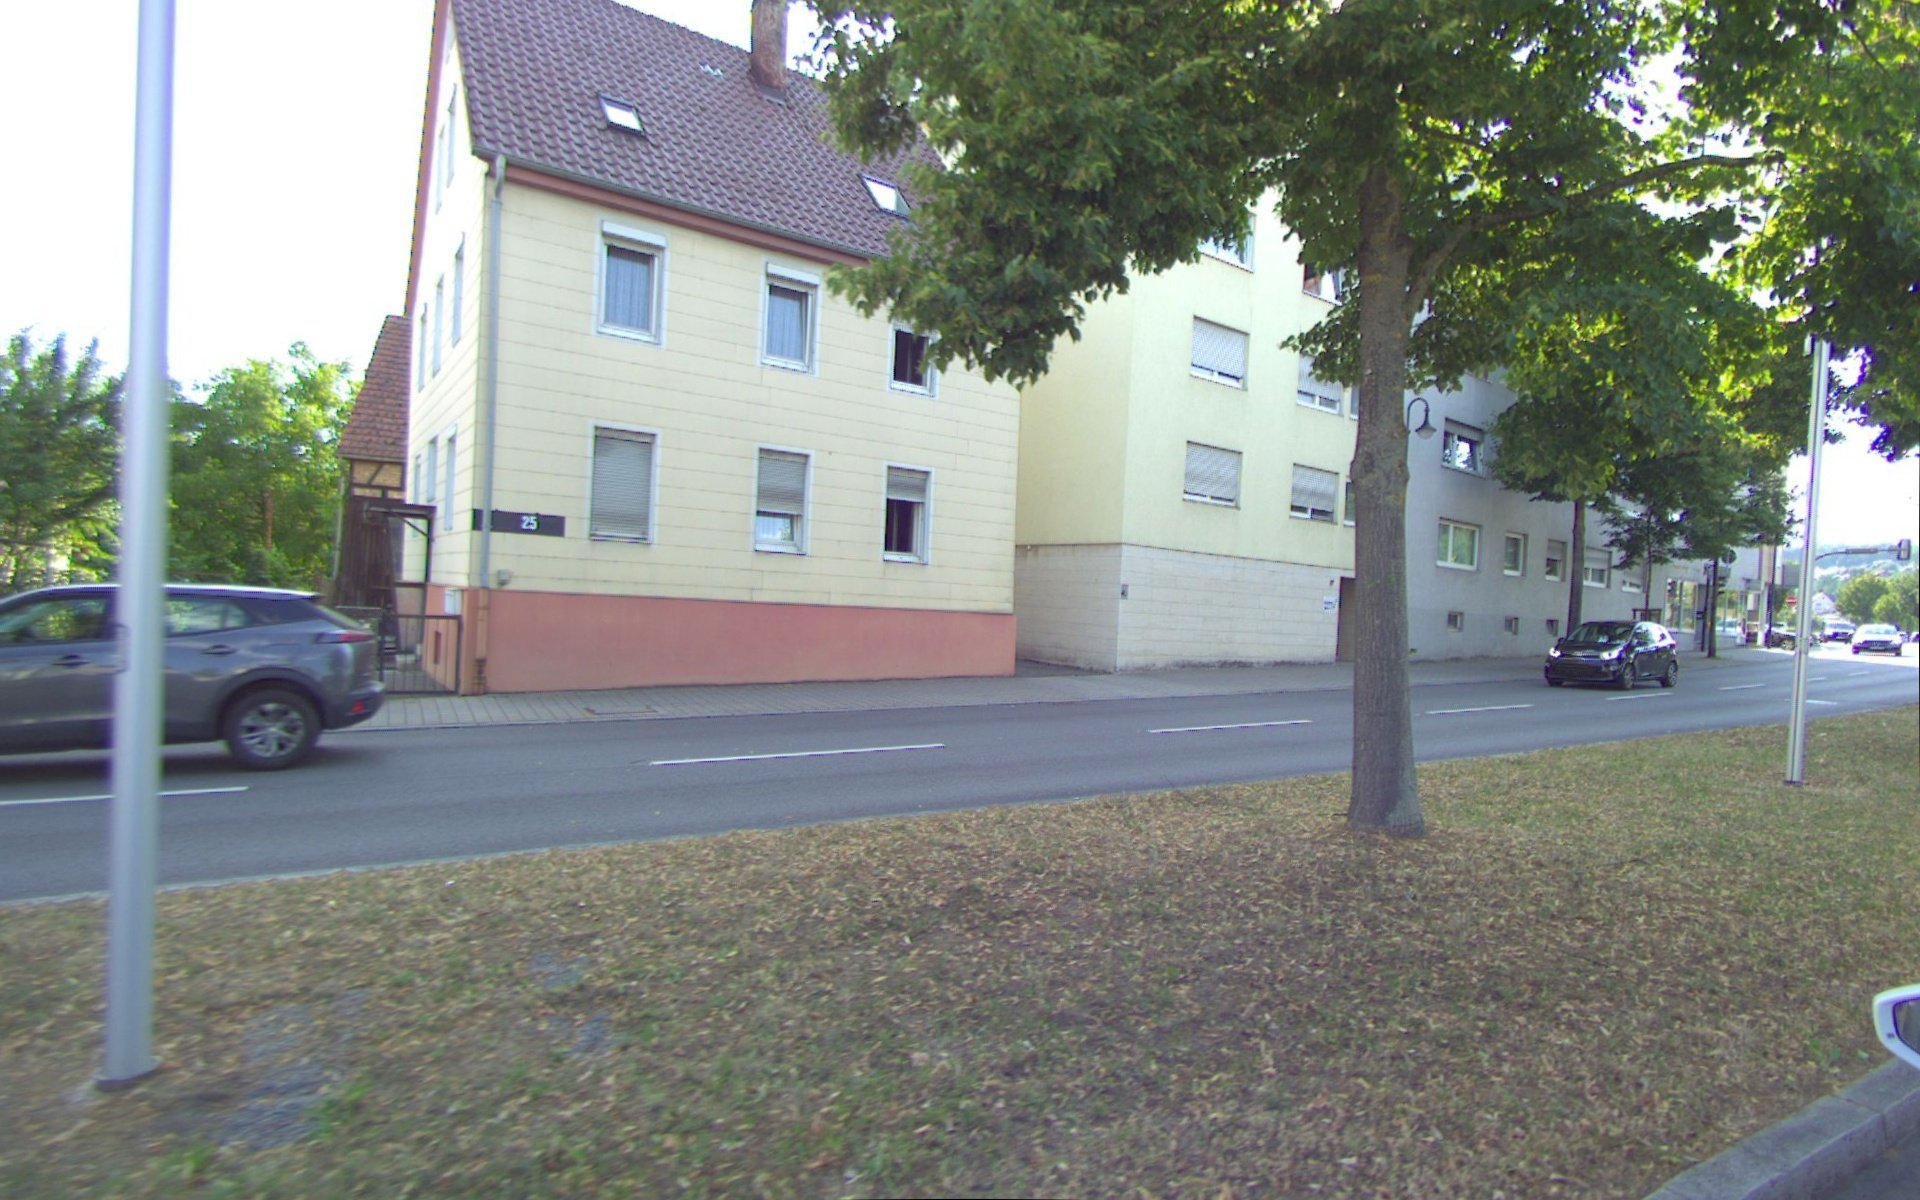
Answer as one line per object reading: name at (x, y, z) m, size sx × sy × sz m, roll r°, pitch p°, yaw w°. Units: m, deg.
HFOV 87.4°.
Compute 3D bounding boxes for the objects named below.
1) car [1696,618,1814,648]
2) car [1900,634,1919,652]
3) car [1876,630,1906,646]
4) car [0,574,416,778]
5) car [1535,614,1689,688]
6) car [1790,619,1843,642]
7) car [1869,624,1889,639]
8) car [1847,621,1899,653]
car at (43.128, 1.774, 54.553) m, size 1.904 × 1.456 × 4.812 m, roll 2°, pitch -1°, yaw -43°
car at (105.507, 4.757, 110.684) m, size 2.187 × 1.883 × 4.439 m, roll 1°, pitch 0°, yaw 35°
car at (116.579, 4.765, 125.852) m, size 2.187 × 1.792 × 4.439 m, roll 1°, pitch 0°, yaw 35°
car at (-7.114, 0.570, 8.533) m, size 4.276 × 1.506 × 1.929 m, roll 2°, pitch -1°, yaw -32°
car at (14.672, 1.124, 22.553) m, size 3.745 × 1.506 × 1.595 m, roll 2°, pitch -1°, yaw -35°
car at (69.381, 2.411, 81.465) m, size 1.822 × 1.759 × 4.921 m, roll 1°, pitch -1°, yaw 22°
car at (125.557, 4.277, 137.239) m, size 1.752 × 2.040 × 3.981 m, roll 2°, pitch 0°, yaw 40°
car at (45.756, 1.834, 50.360) m, size 1.832 × 1.506 × 4.969 m, roll 1°, pitch -1°, yaw 42°
